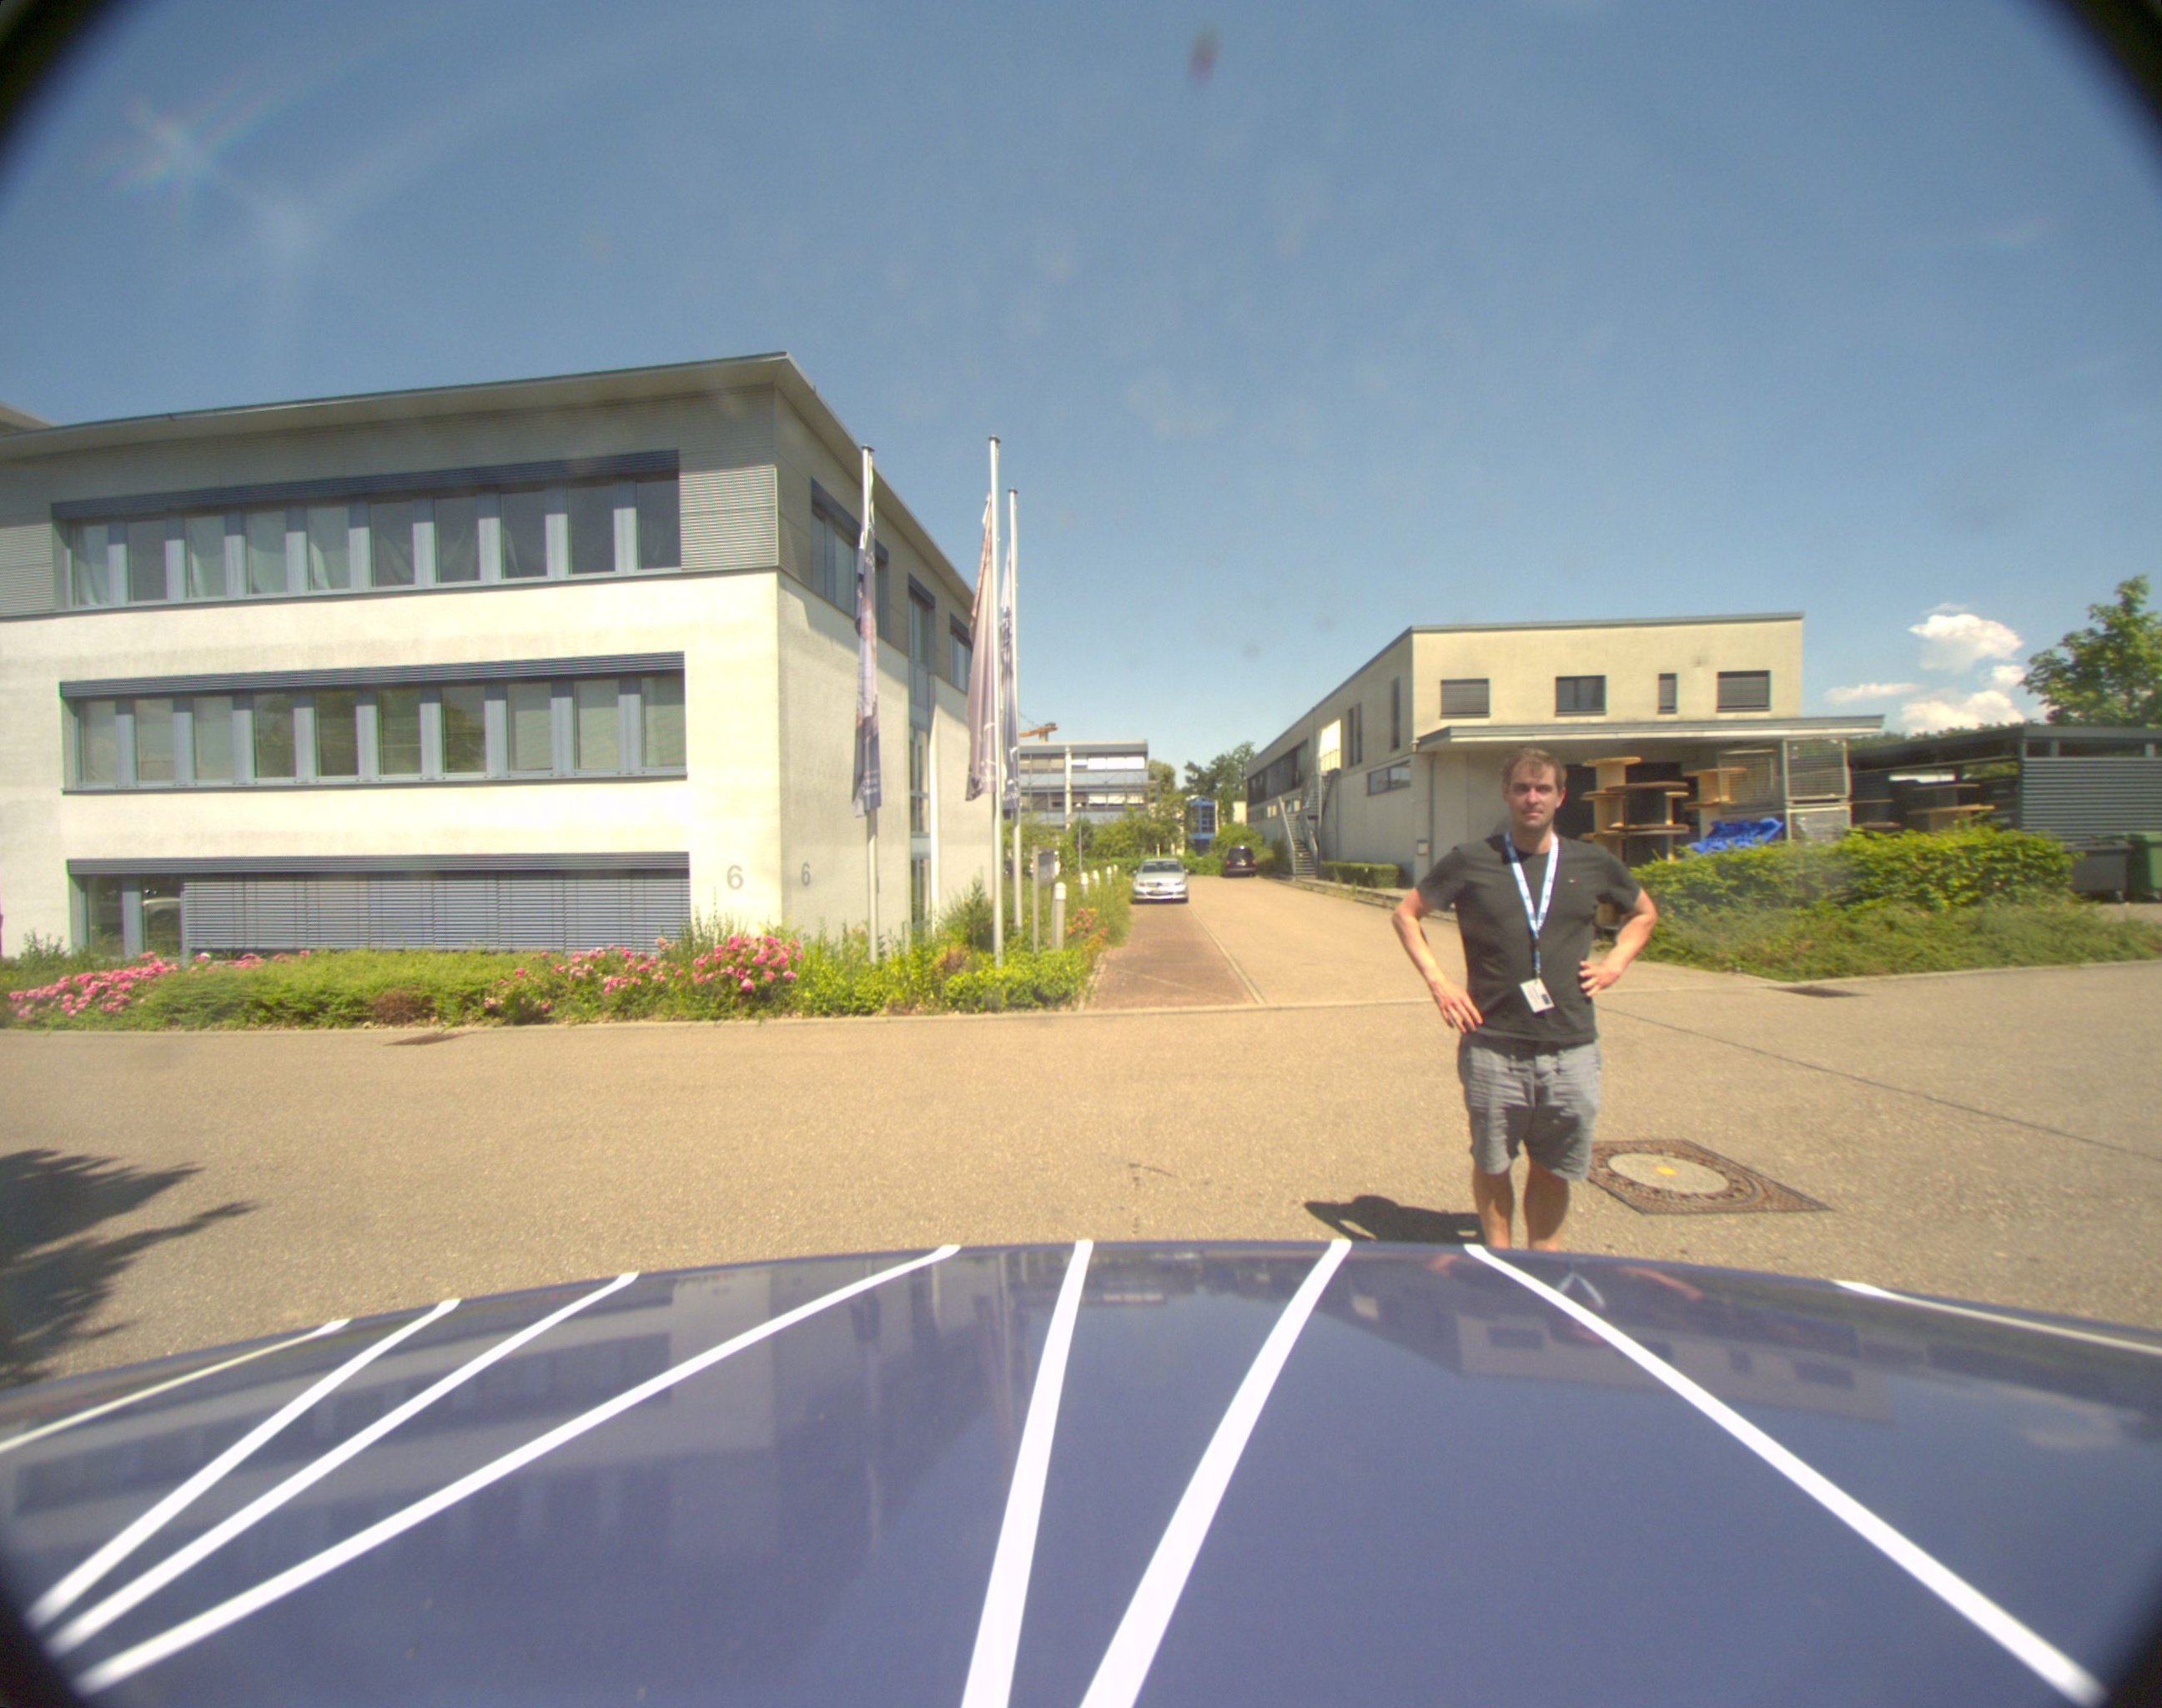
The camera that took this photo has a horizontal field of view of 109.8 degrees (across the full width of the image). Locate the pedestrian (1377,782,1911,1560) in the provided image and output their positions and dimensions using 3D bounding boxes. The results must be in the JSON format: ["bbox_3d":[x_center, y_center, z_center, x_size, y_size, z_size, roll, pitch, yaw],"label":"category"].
[{"bbox_3d":[1.500,0.751,2.235,0.860,1.809,0.904,-2,1,1],"label":"pedestrian"}]

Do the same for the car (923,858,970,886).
[{"bbox_3d":[-8.223,1.064,46.781,1.787,1.537,4.001,-2,1,5],"label":"car"}]

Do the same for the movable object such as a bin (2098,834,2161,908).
[{"bbox_3d":[20.120,0.304,14.216,1.071,1.329,0.760,-2,1,10],"label":"movable object such as a bin"}]

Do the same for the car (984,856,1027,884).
[{"bbox_3d":[-4.562,0.930,46.404,1.787,1.537,4.001,-2,1,5],"label":"car"}]

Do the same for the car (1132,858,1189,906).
[{"bbox_3d":[2.729,0.873,25.365,1.710,1.383,3.813,-1,1,9],"label":"car"}]

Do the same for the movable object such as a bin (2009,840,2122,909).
[{"bbox_3d":[18.814,0.381,14.544,1.071,1.264,0.760,-2,1,10],"label":"movable object such as a bin"}]

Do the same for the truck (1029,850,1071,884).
[{"bbox_3d":[-1.801,0.716,45.415,1.998,1.882,4.001,-2,0,4],"label":"truck"}]

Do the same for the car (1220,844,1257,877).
[{"bbox_3d":[9.377,0.368,45.404,1.786,1.793,4.001,-2,1,7],"label":"car"}]
